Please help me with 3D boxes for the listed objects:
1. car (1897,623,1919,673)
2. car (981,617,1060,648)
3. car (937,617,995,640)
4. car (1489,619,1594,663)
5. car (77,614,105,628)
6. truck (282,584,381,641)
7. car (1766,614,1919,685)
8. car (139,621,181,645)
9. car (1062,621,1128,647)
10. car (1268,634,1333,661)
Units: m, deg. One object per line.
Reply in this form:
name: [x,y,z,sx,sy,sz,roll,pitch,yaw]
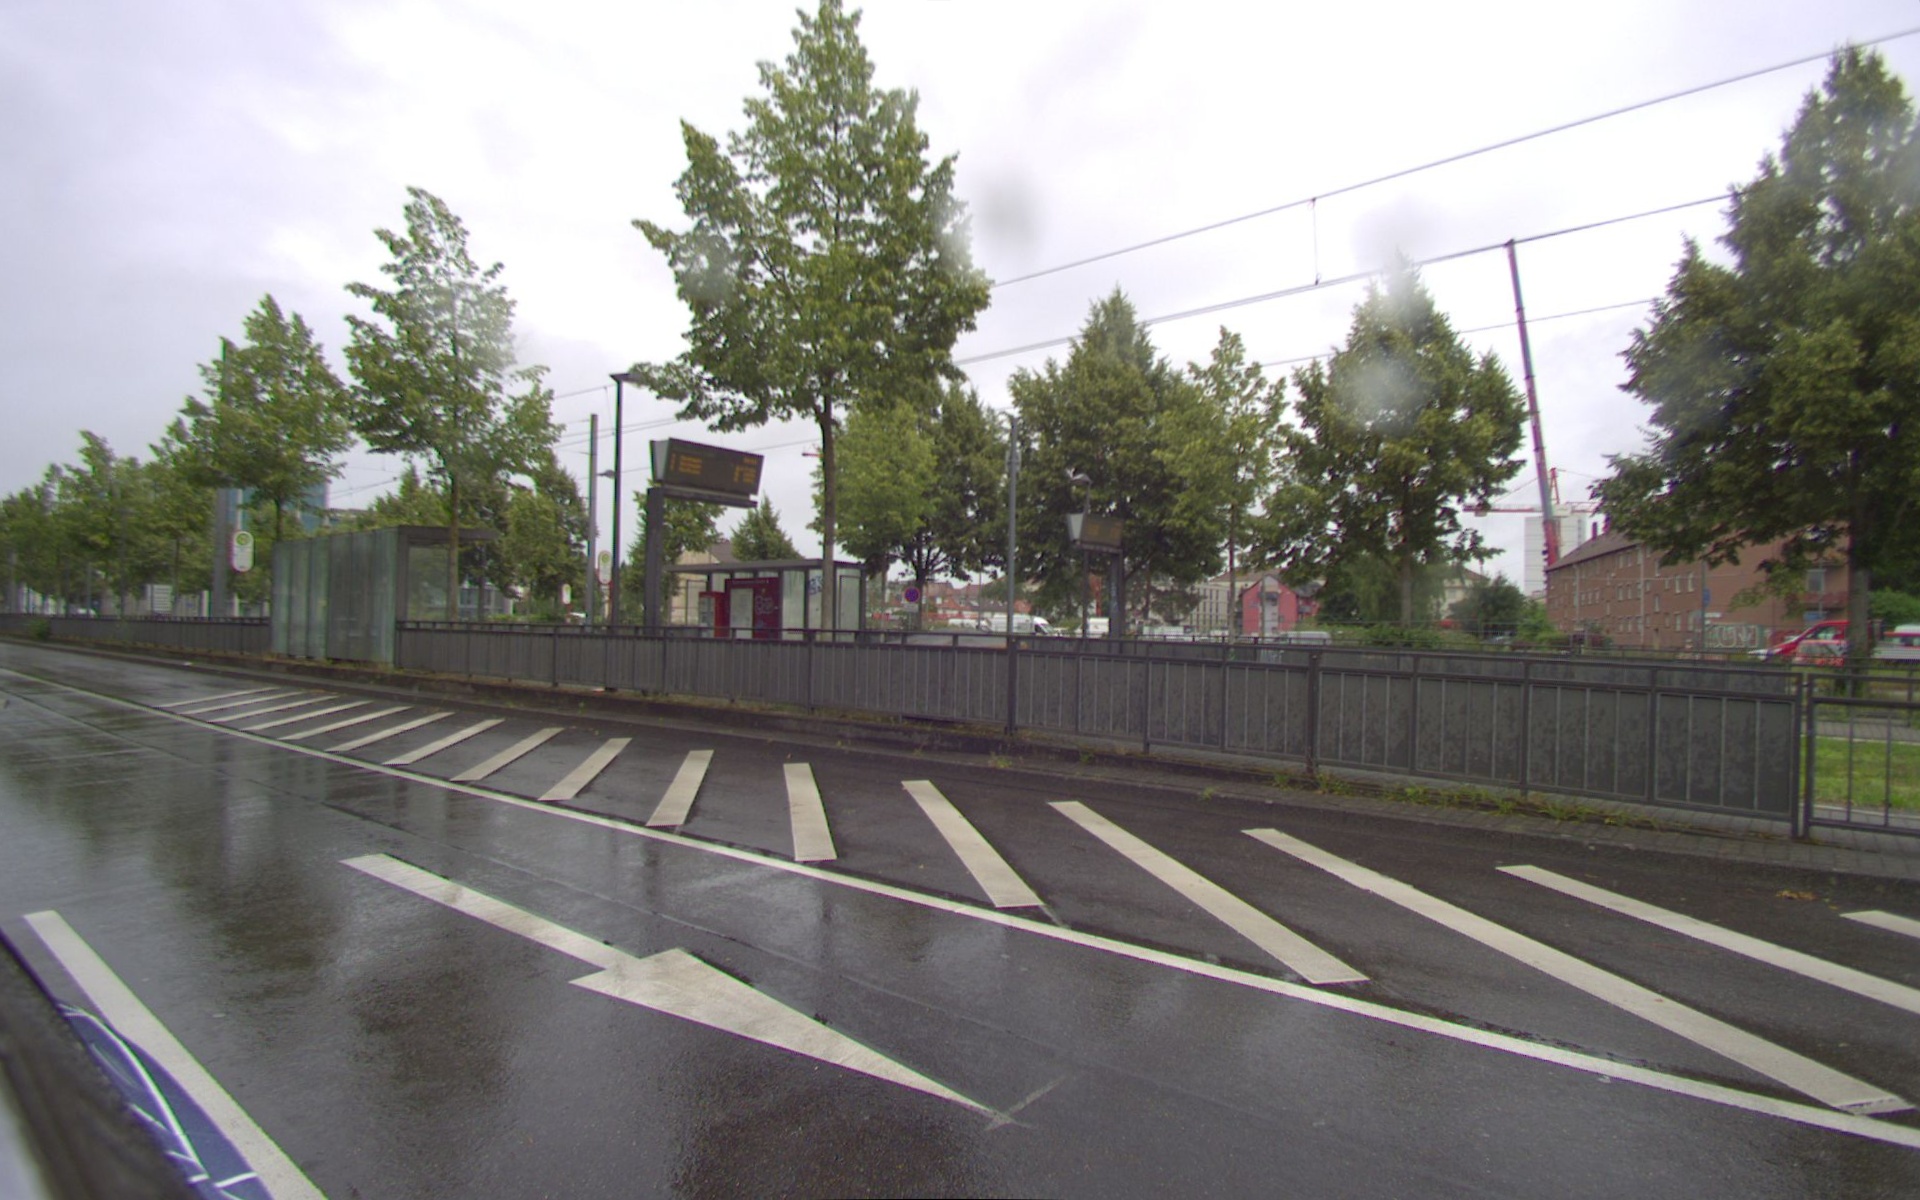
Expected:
car: [45.949,2.169,44.955,1.597,2.296,6.114,2,-3,-37]
car: [5.114,2.731,85.908,6.735,2.480,1.975,0,0,37]
car: [0.608,2.988,108.317,6.123,2.323,1.978,0,0,32]
car: [35.875,2.482,62.553,5.482,2.471,1.976,0,0,36]
car: [-109.970,2.635,128.024,3.995,1.759,1.974,0,0,38]
truck: [-44.248,0.816,71.133,9.164,3.806,2.663,0,0,36]
car: [33.493,1.766,36.642,1.597,2.489,6.500,2,-2,-39]
car: [-68.963,2.817,87.241,3.990,2.029,1.742,-1,-2,35]
car: [11.812,2.933,88.800,5.412,2.067,1.976,0,0,37]
car: [26.186,3.611,77.892,4.415,1.891,1.855,0,0,34]
